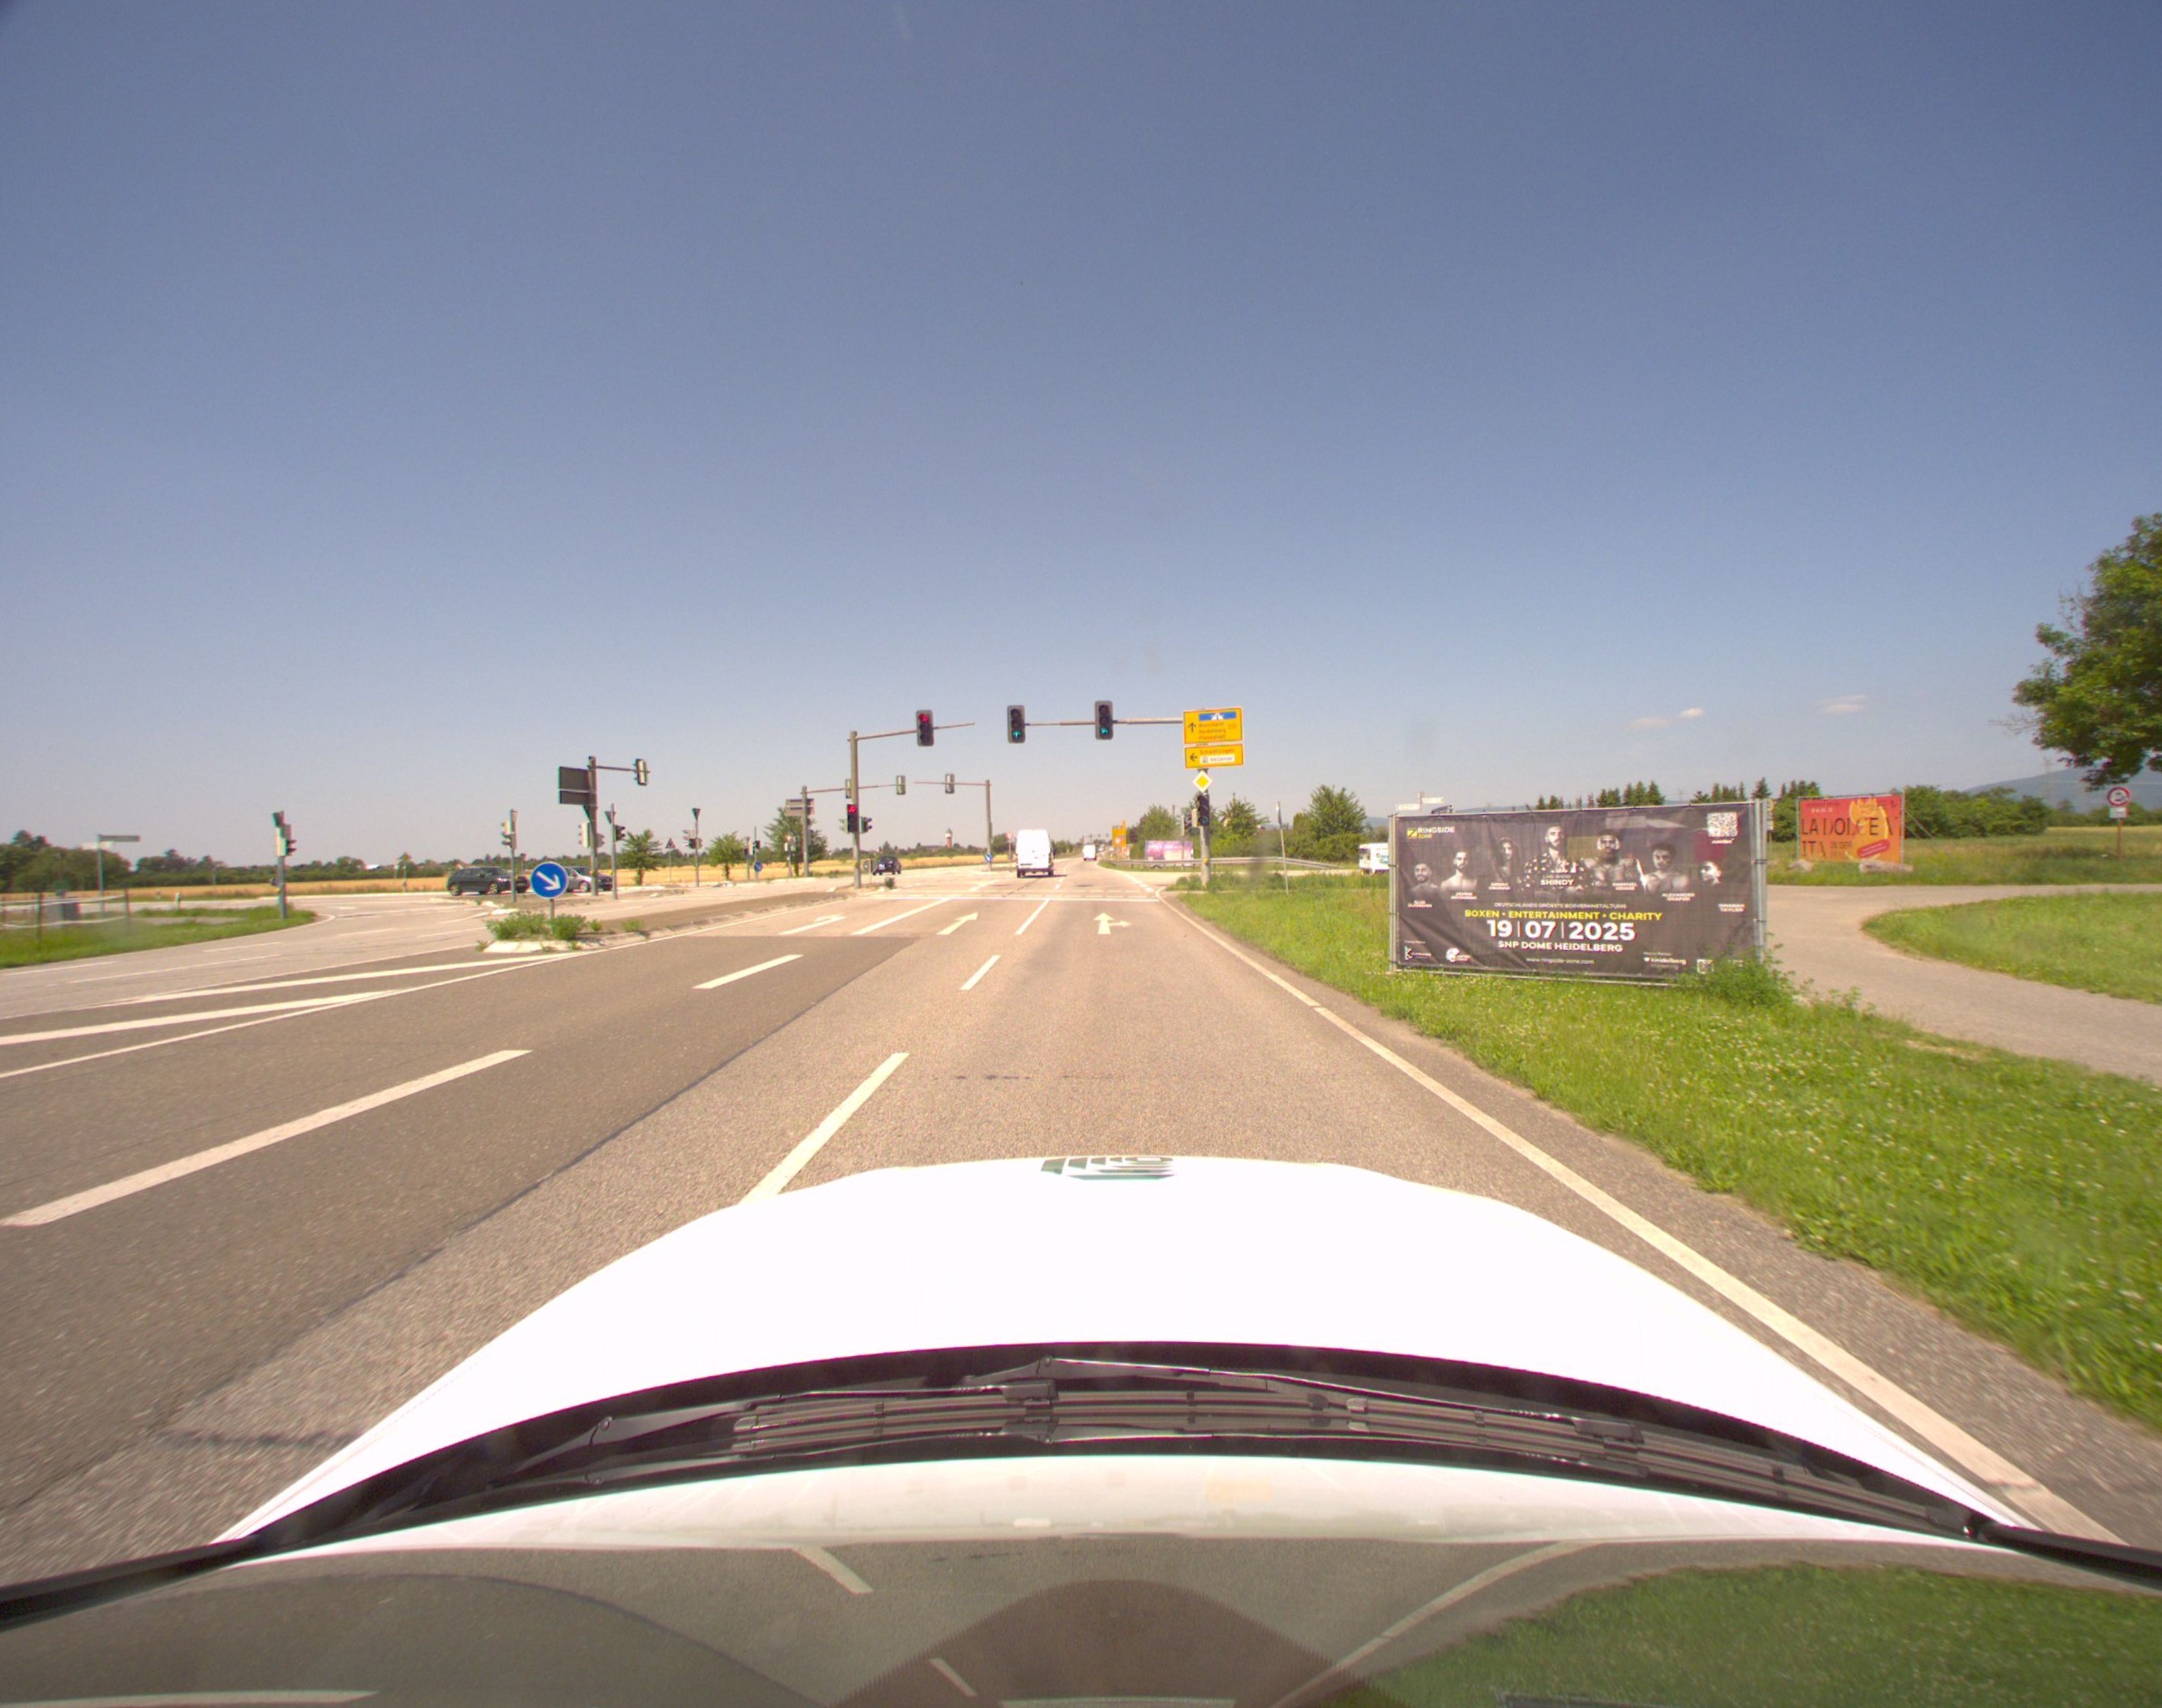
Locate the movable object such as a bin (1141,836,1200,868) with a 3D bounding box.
[{"bbox_3d":[6.511,-0.153,59.253,4.085,2.331,1.276,0,-1,-4],"label":"movable object such as a bin"}]

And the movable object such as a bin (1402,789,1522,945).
[{"bbox_3d":[6.711,0.207,14.718,1.509,2.363,4.445,0,0,19],"label":"movable object such as a bin"}]

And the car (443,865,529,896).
[{"bbox_3d":[-34.454,1.542,47.144,4.322,1.594,1.642,-3,0,16],"label":"car"}]

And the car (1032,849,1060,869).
[{"bbox_3d":[-2.913,0.382,68.436,1.791,1.508,4.201,-1,1,4],"label":"car"}]

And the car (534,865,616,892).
[{"bbox_3d":[-28.442,1.380,45.817,3.840,1.387,1.641,-1,1,14],"label":"car"}]

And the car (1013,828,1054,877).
[{"bbox_3d":[-2.674,-0.096,47.008,2.033,2.620,5.737,-2,0,-2],"label":"car"}]

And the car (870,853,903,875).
[{"bbox_3d":[-15.699,0.809,66.035,1.826,1.600,4.300,-2,0,-3],"label":"car"}]

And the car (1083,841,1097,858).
[{"bbox_3d":[1.466,-0.737,133.451,1.984,2.695,4.975,0,-1,4],"label":"car"}]

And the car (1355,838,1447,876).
[{"bbox_3d":[13.402,0.126,34.200,3.331,1.499,1.398,-1,0,-6],"label":"car"}]
